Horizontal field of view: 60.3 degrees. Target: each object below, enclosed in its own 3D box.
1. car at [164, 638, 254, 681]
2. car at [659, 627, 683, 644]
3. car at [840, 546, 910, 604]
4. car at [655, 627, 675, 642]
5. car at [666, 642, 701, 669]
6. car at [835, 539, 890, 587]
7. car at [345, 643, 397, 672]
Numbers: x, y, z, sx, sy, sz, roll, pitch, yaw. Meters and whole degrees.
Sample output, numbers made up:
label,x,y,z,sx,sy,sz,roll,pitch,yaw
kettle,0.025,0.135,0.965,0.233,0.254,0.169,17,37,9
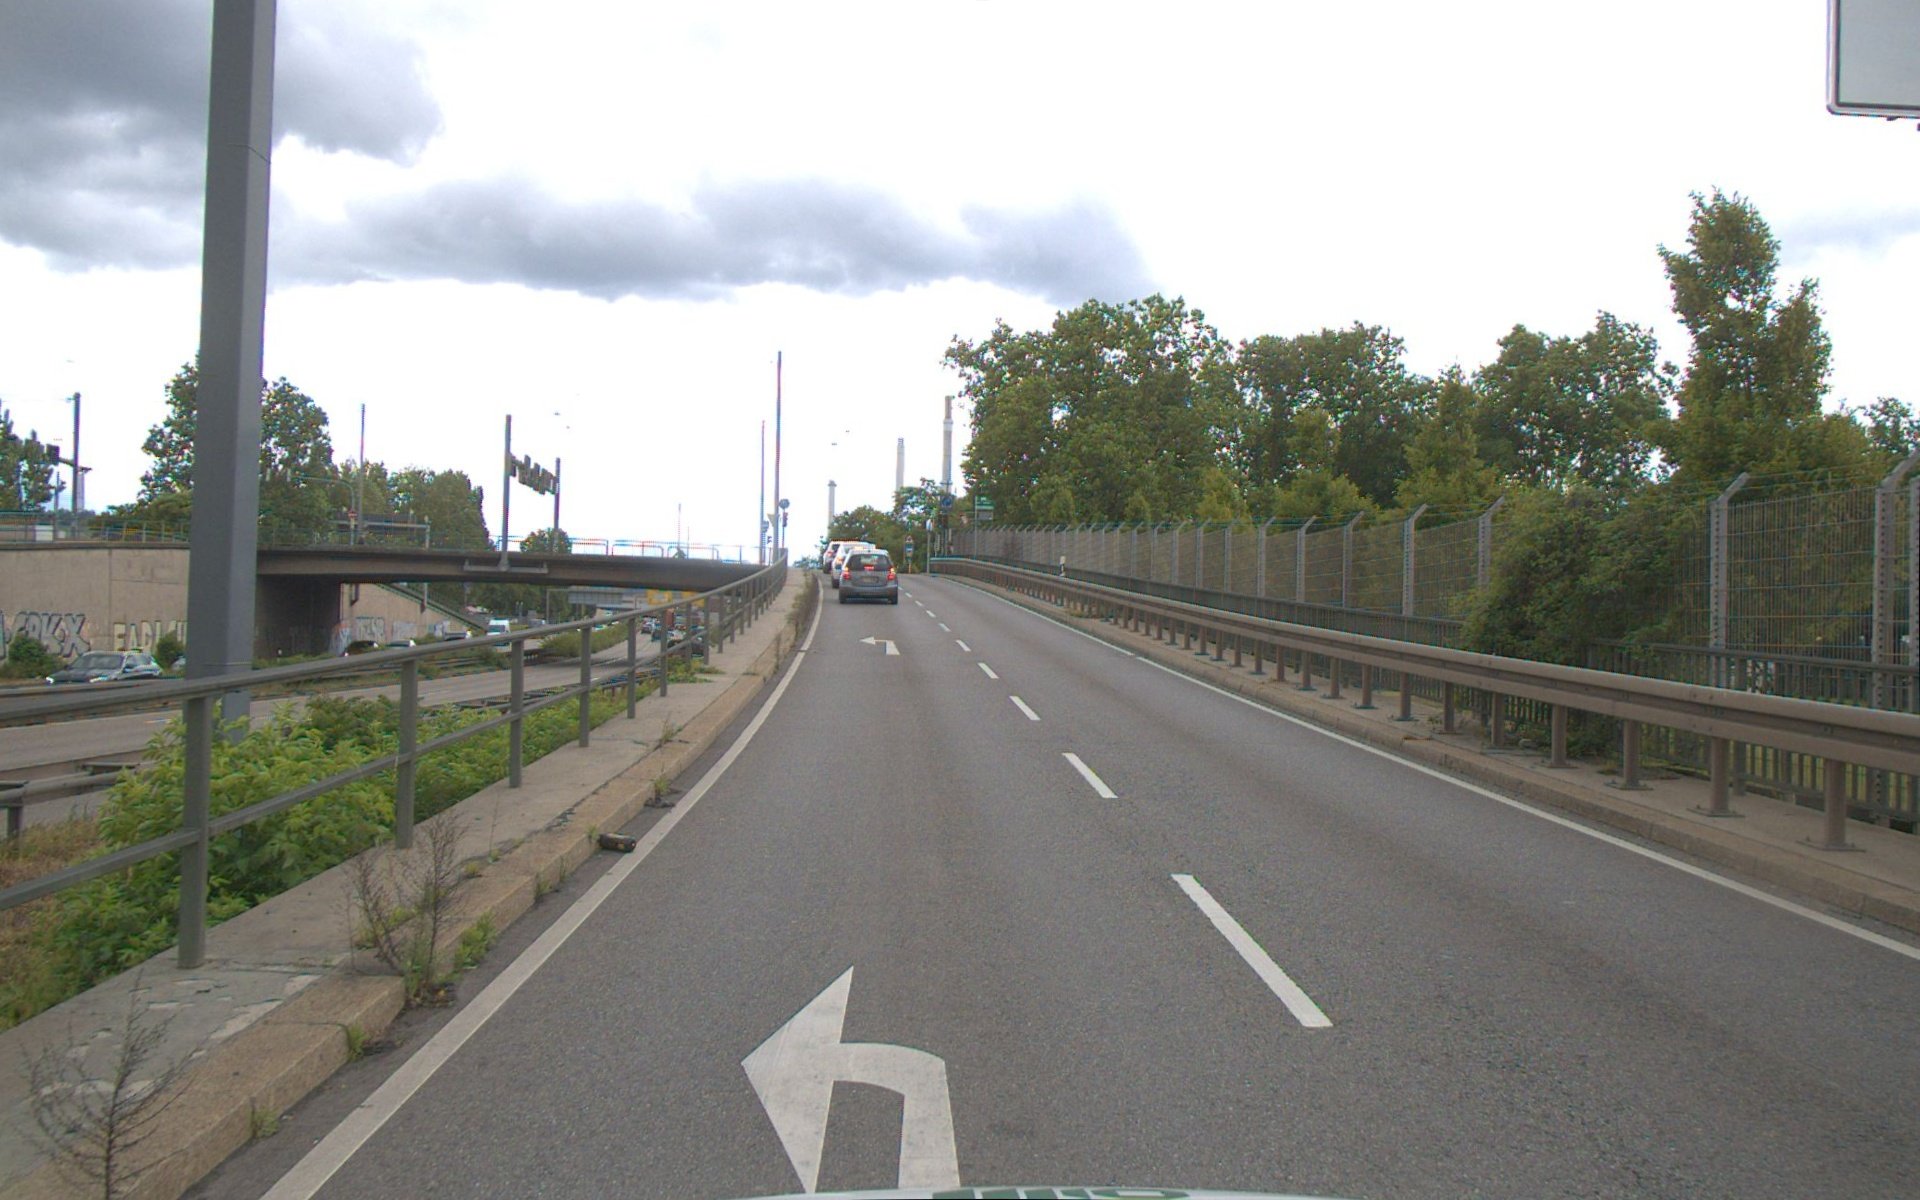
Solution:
label,x,y,z,sx,sy,sz,roll,pitch,yaw
car,-32.379,2.607,71.483,1.954,1.722,4.698,0,-4,-4
car,-31.646,3.864,180.928,1.953,1.713,3.999,2,0,-2
car,-2.530,-0.709,49.991,1.713,1.608,4.086,2,0,2
car,-37.365,4.319,209.553,1.953,1.713,3.999,2,0,-2
car,-16.962,3.383,101.487,1.956,1.445,3.993,2,0,-8
car,-3.633,-1.398,61.206,1.954,1.630,3.998,0,3,-5
car,-35.820,3.509,100.724,1.955,1.750,4.696,0,-2,-6
